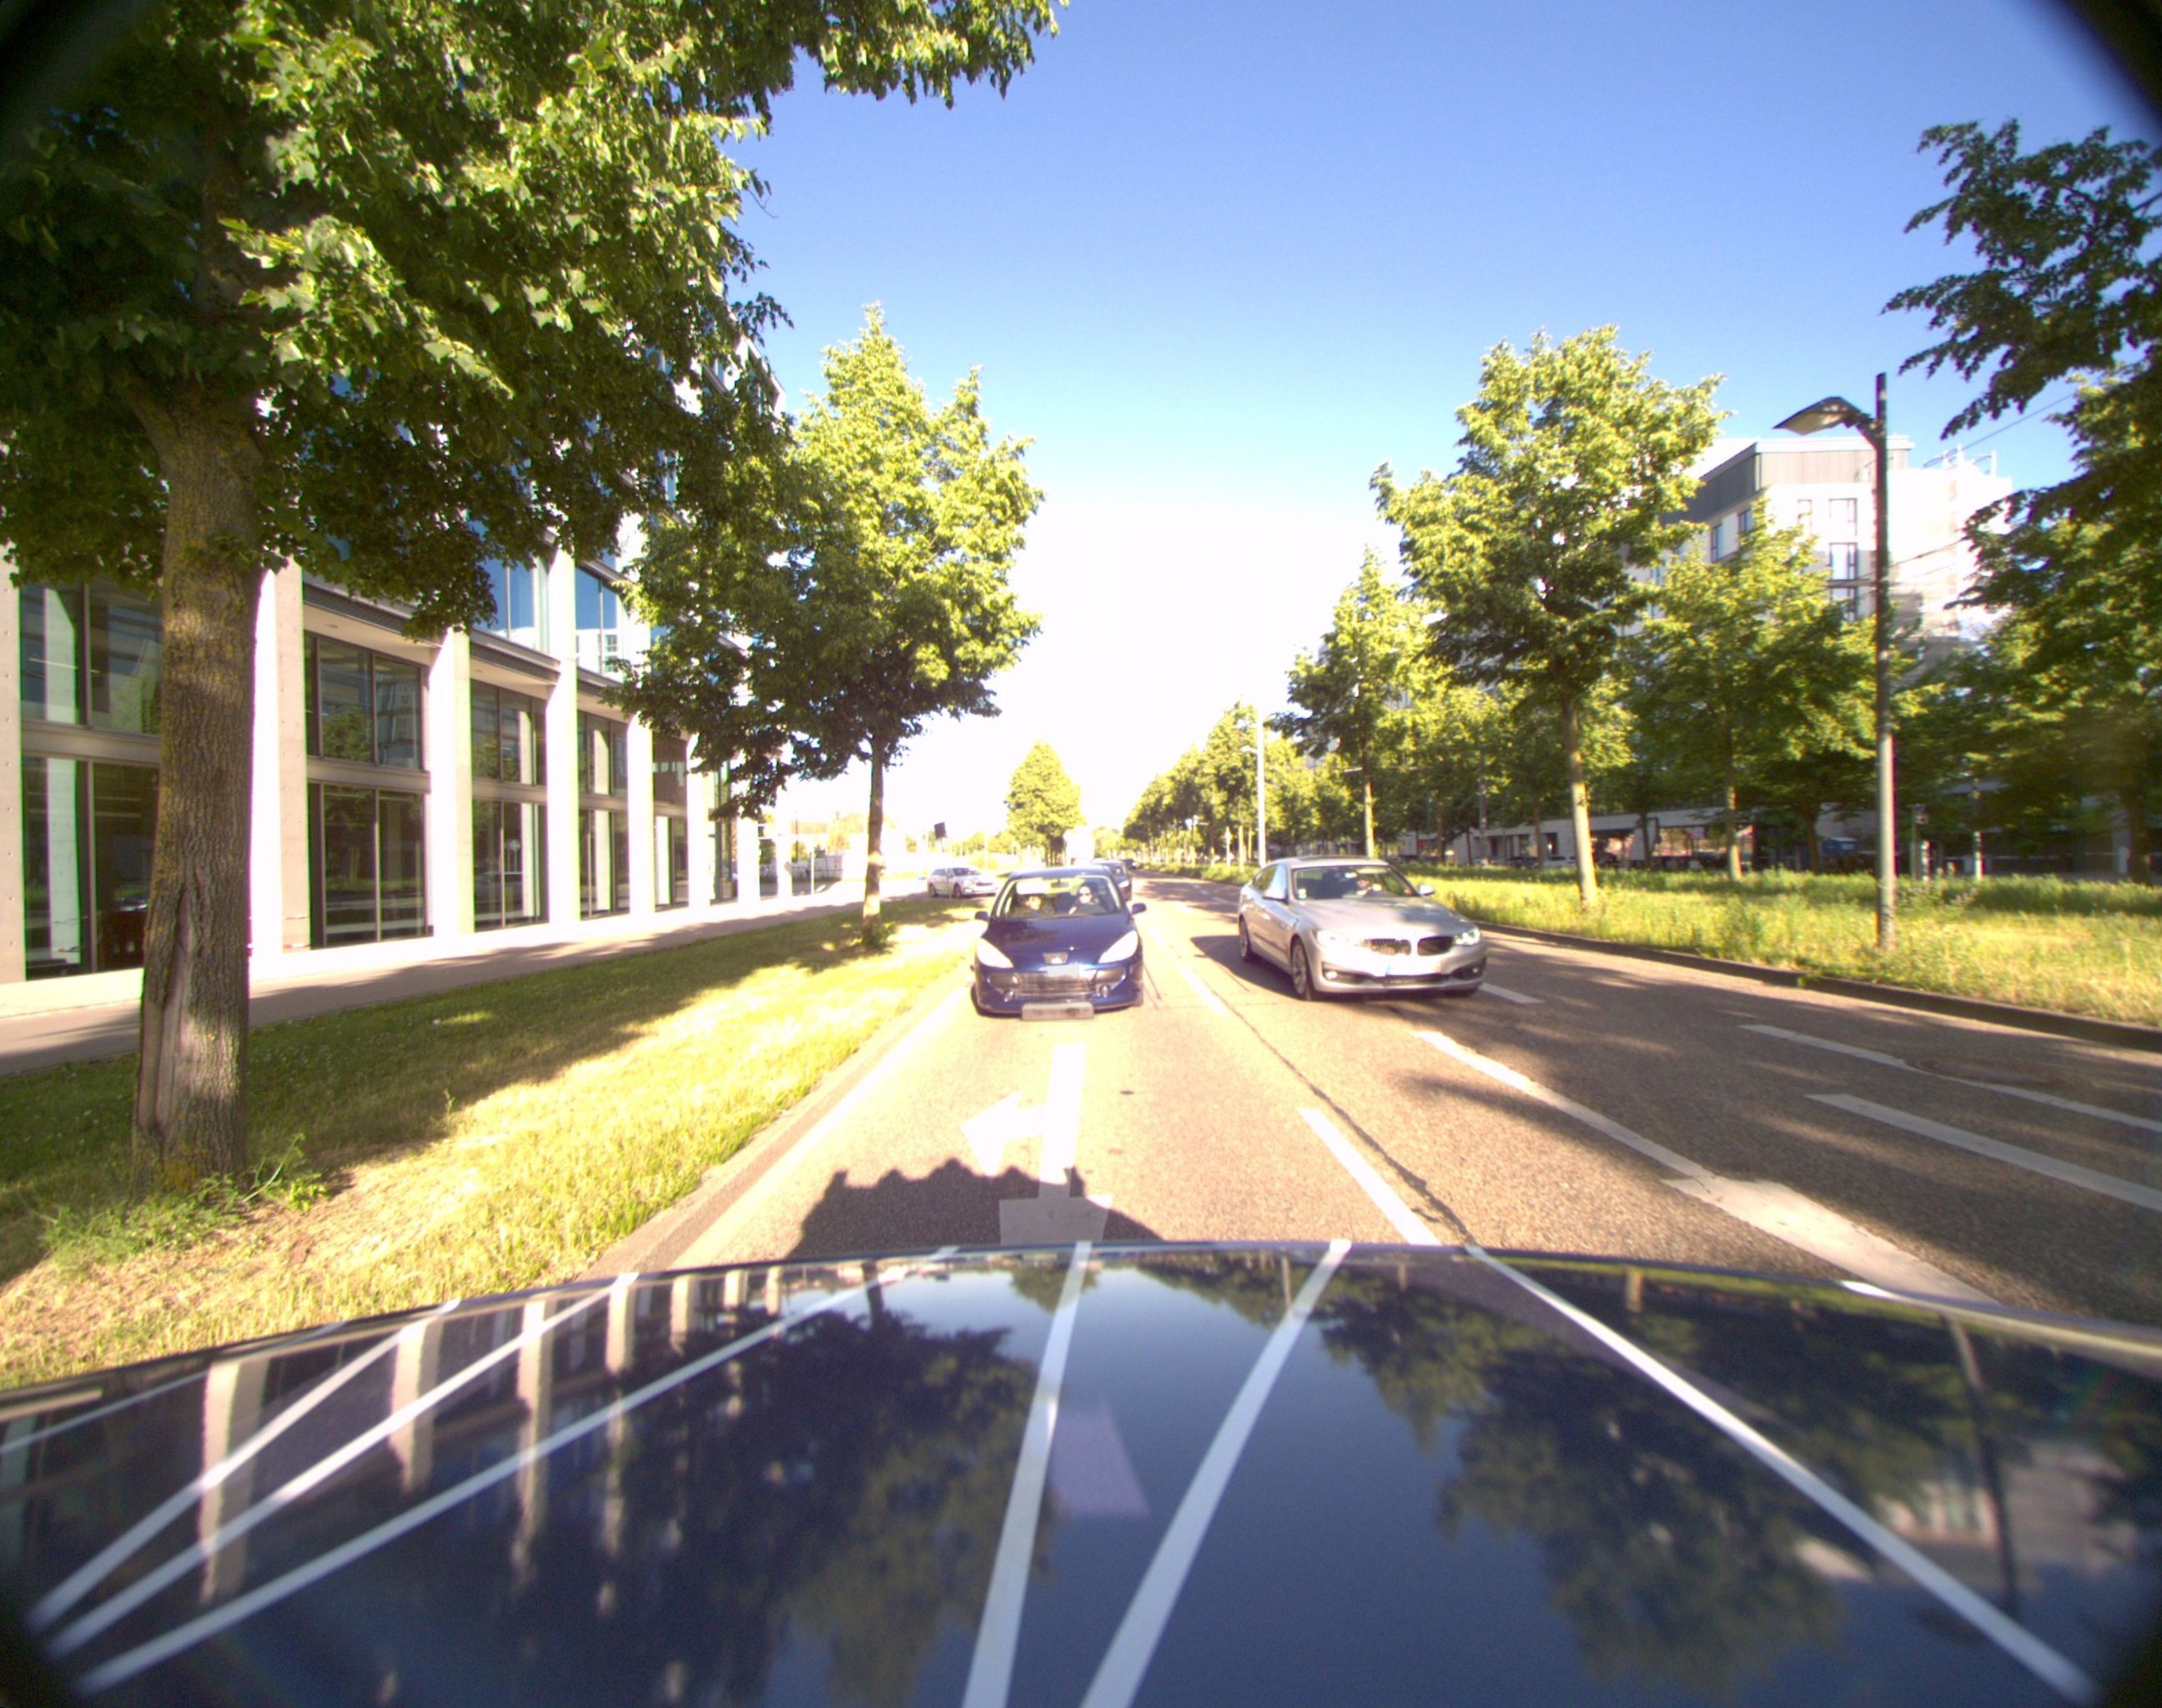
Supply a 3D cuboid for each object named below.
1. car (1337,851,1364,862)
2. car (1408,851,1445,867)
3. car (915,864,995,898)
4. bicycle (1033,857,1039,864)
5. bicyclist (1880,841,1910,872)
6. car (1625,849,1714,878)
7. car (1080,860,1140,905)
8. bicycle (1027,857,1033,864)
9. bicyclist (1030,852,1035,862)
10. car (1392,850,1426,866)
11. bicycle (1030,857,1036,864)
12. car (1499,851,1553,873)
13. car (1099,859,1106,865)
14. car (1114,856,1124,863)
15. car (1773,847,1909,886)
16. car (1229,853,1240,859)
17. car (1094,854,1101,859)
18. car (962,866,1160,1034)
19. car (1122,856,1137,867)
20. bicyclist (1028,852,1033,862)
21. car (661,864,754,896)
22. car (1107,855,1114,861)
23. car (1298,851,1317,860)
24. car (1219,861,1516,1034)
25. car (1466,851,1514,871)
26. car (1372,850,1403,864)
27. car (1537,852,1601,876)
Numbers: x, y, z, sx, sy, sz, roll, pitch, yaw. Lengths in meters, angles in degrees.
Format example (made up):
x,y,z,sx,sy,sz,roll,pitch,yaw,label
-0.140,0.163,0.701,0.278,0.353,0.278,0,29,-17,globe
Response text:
x,y,z,sx,sy,sz,roll,pitch,yaw,label
35.637,0.316,100.520,1.999,1.387,3.999,-1,0,-2,car
34.984,0.485,77.082,1.884,1.588,4.184,-1,0,1,car
-5.845,1.180,34.746,1.808,1.439,4.557,-1,0,-35,car
-9.043,1.275,153.324,0.931,1.355,4.000,-1,0,1,bicycle
37.332,0.116,34.852,0.478,1.416,0.820,-1,1,1,bicyclist
34.083,0.517,44.184,1.951,1.588,4.184,-1,0,1,car
1.023,0.982,28.167,1.998,1.437,4.622,-1,0,1,car
-10.223,1.347,153.015,0.931,1.355,4.000,-1,0,1,bicycle
-10.128,0.606,159.766,0.931,2.045,1.121,-1,1,1,bicyclist
35.395,0.420,81.990,1.884,1.588,4.184,-1,0,1,car
-10.139,1.303,159.511,0.931,1.355,4.000,-1,0,1,bicycle
35.146,0.617,60.117,1.884,1.588,4.184,-1,0,1,car
4.954,1.834,175.158,1.724,1.516,4.000,-1,0,1,car
7.526,1.092,151.033,1.878,1.415,4.344,-1,0,2,car
34.047,0.522,34.235,1.951,1.588,4.184,-1,0,1,car
36.038,0.458,178.118,1.998,1.387,4.001,-1,0,4,car
5.036,0.653,229.218,1.878,1.561,4.344,-1,0,2,car
-0.166,0.951,9.460,1.846,1.473,4.481,-1,0,1,car
6.561,0.989,102.915,1.861,1.482,4.000,-1,0,1,car
-10.228,0.649,153.028,0.931,2.045,1.121,-1,1,1,bicyclist
-20.082,1.370,41.016,3.996,1.569,2.000,-1,0,3,car
8.100,1.180,210.307,1.878,1.577,4.344,-1,0,2,car
36.639,0.262,123.039,1.998,1.387,4.000,-1,0,1,car
2.998,0.866,9.124,1.824,1.476,4.561,-1,0,0,car
35.112,0.575,65.400,1.884,1.588,4.184,-1,0,1,car
35.452,0.367,87.911,1.884,1.588,4.184,-1,0,1,car
34.860,0.679,54.390,1.884,1.588,4.184,-1,0,1,car
